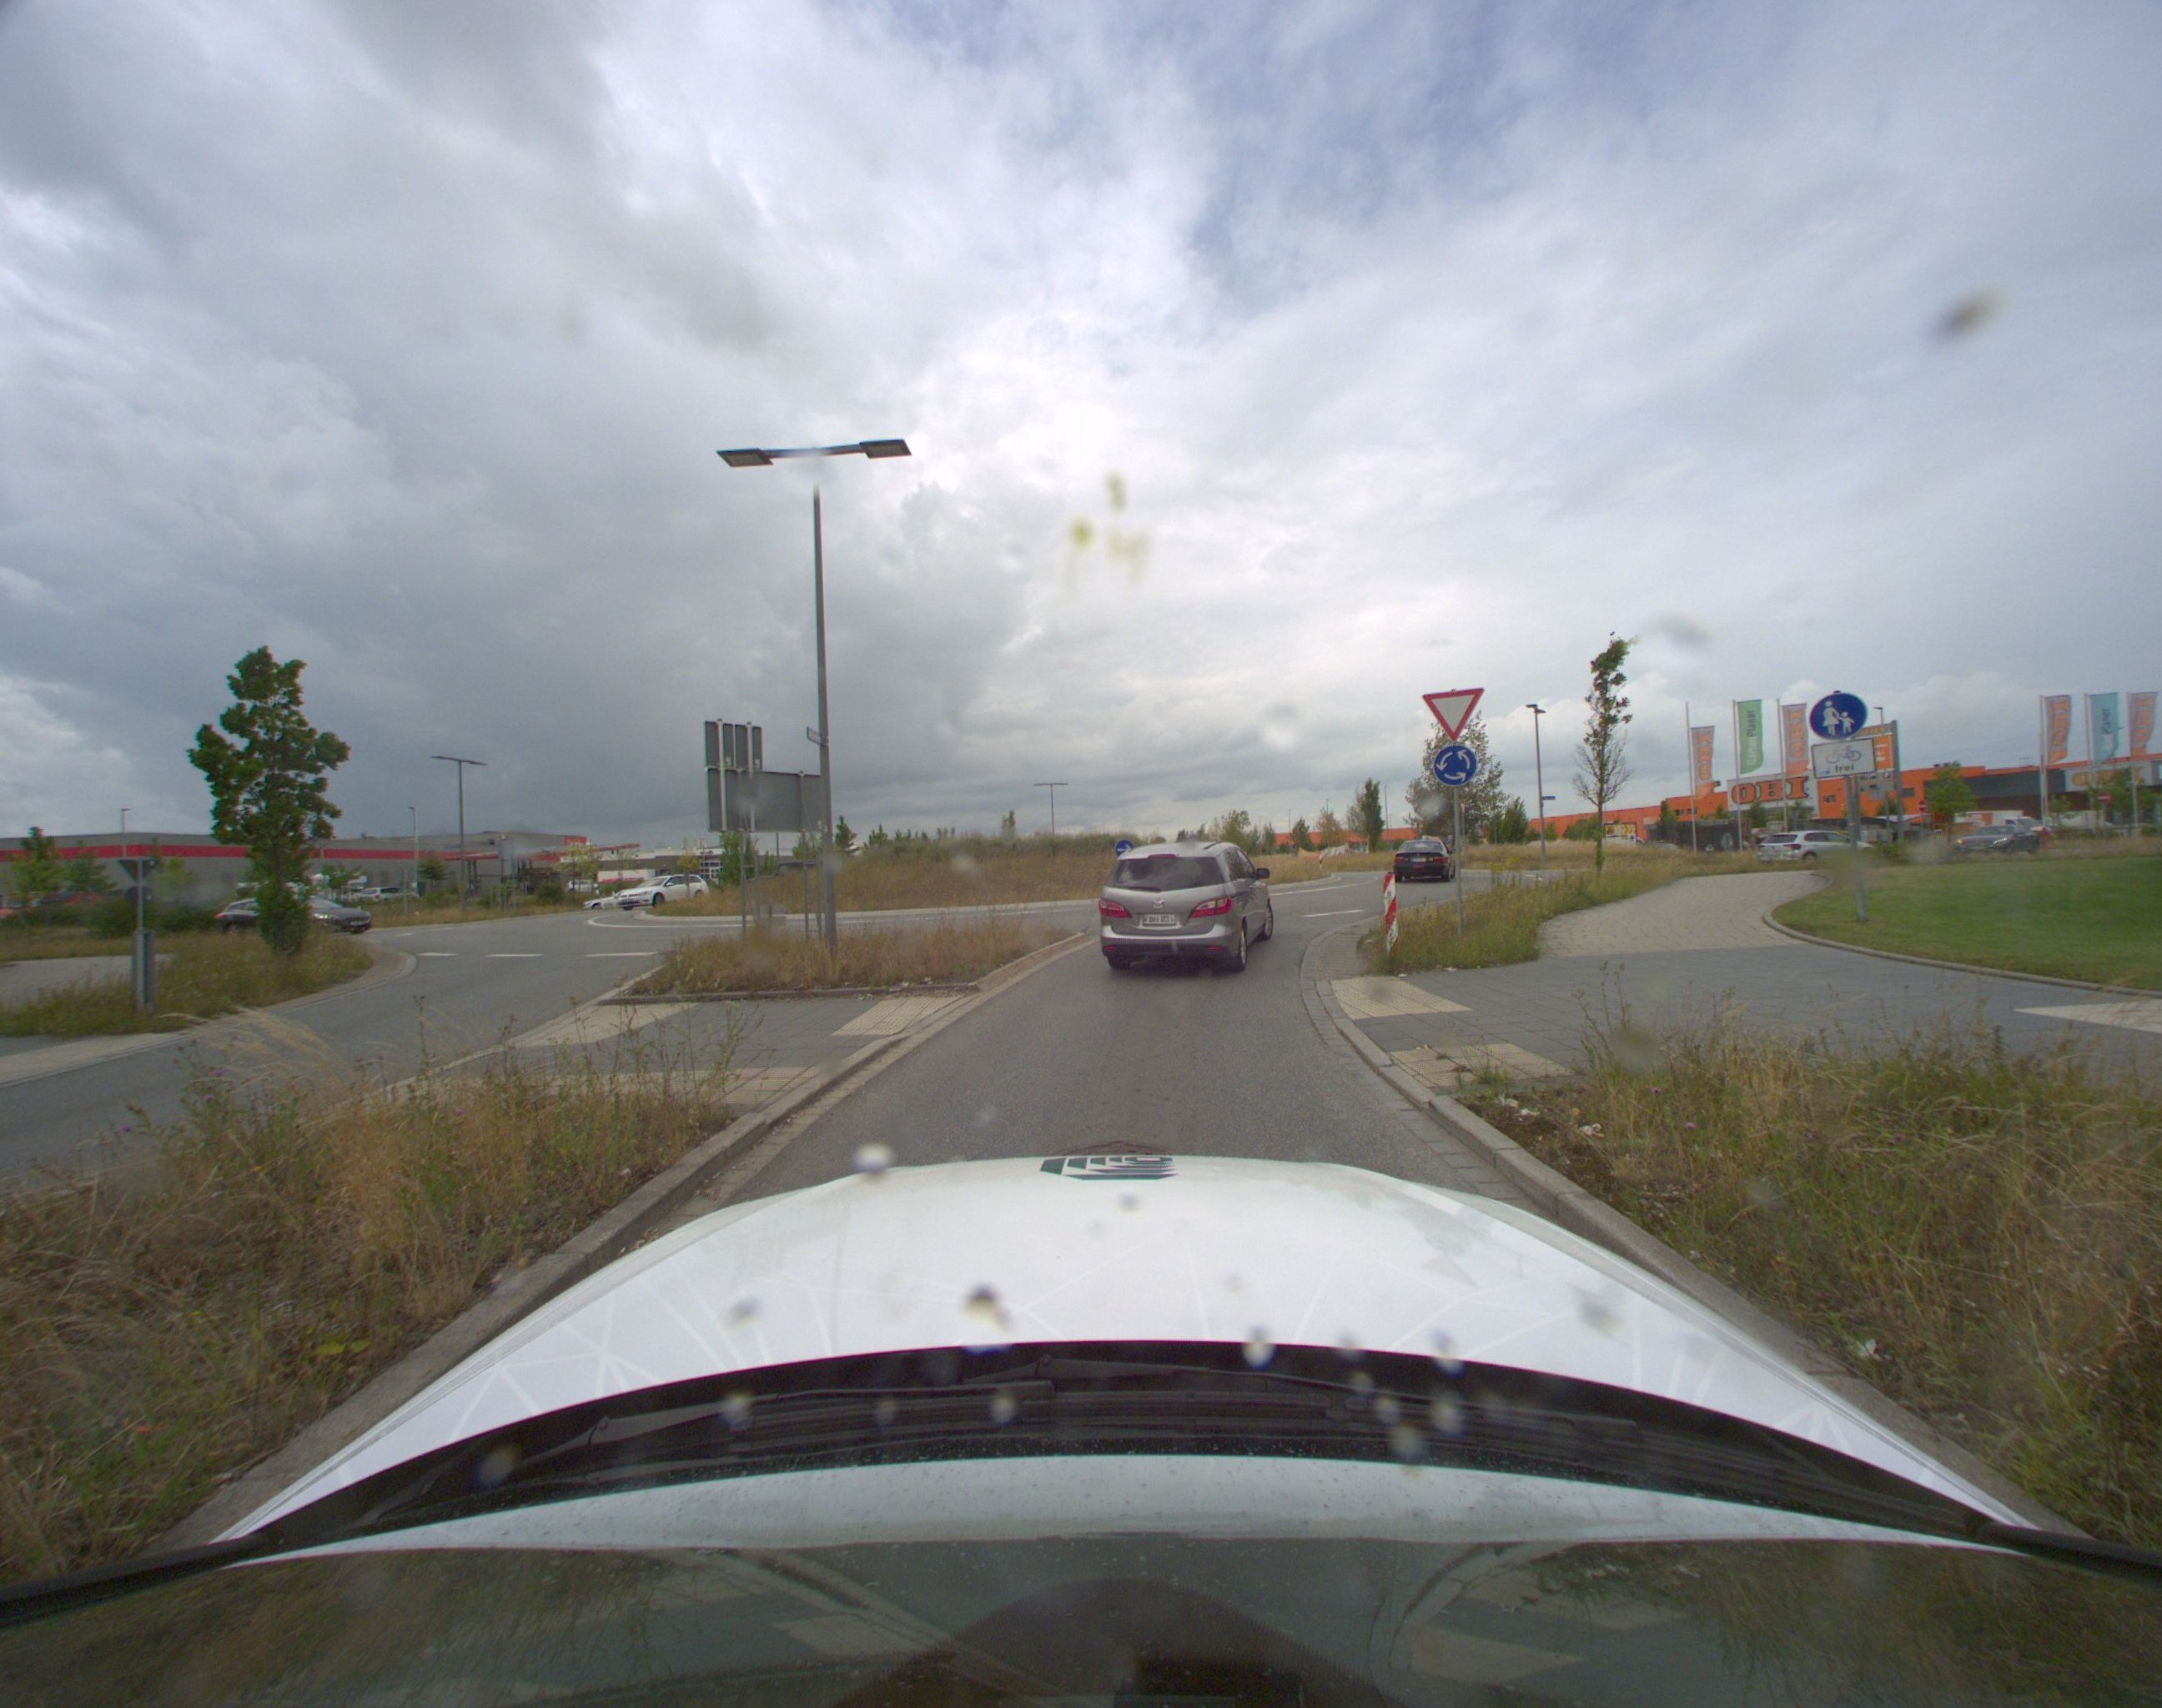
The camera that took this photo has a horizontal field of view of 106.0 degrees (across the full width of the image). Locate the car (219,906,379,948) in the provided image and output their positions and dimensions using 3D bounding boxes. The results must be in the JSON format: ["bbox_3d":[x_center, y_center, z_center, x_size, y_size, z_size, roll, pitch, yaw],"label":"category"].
[{"bbox_3d":[-26.555,2.463,27.759,3.581,1.251,1.671,0,-2,-8],"label":"car"}]

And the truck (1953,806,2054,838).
[{"bbox_3d":[82.214,-2.814,72.733,2.429,2.484,5.538,0,-2,-6],"label":"truck"}]

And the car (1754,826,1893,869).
[{"bbox_3d":[28.483,-0.289,31.286,3.983,1.464,1.809,-2,2,-7],"label":"car"}]

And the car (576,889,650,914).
[{"bbox_3d":[-28.236,2.849,49.196,3.762,1.301,1.483,-2,-1,-35],"label":"car"}]

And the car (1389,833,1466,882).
[{"bbox_3d":[11.315,0.052,26.457,1.721,1.403,4.023,0,2,32],"label":"car"}]

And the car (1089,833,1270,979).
[{"bbox_3d":[1.566,0.559,11.388,1.724,1.598,4.017,-1,2,18],"label":"car"}]

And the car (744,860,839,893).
[{"bbox_3d":[-15.623,1.208,44.056,4.654,1.753,1.712,0,-2,-28],"label":"car"}]

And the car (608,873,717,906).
[{"bbox_3d":[-19.091,1.588,37.401,1.709,1.409,4.661,-1,-2,15],"label":"car"}]

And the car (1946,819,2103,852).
[{"bbox_3d":[43.480,-0.810,37.641,4.647,1.404,1.933,-1,0,7],"label":"car"}]

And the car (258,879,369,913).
[{"bbox_3d":[-67.226,3.635,71.599,2.456,2.820,7.684,-1,-2,-1],"label":"car"}]
